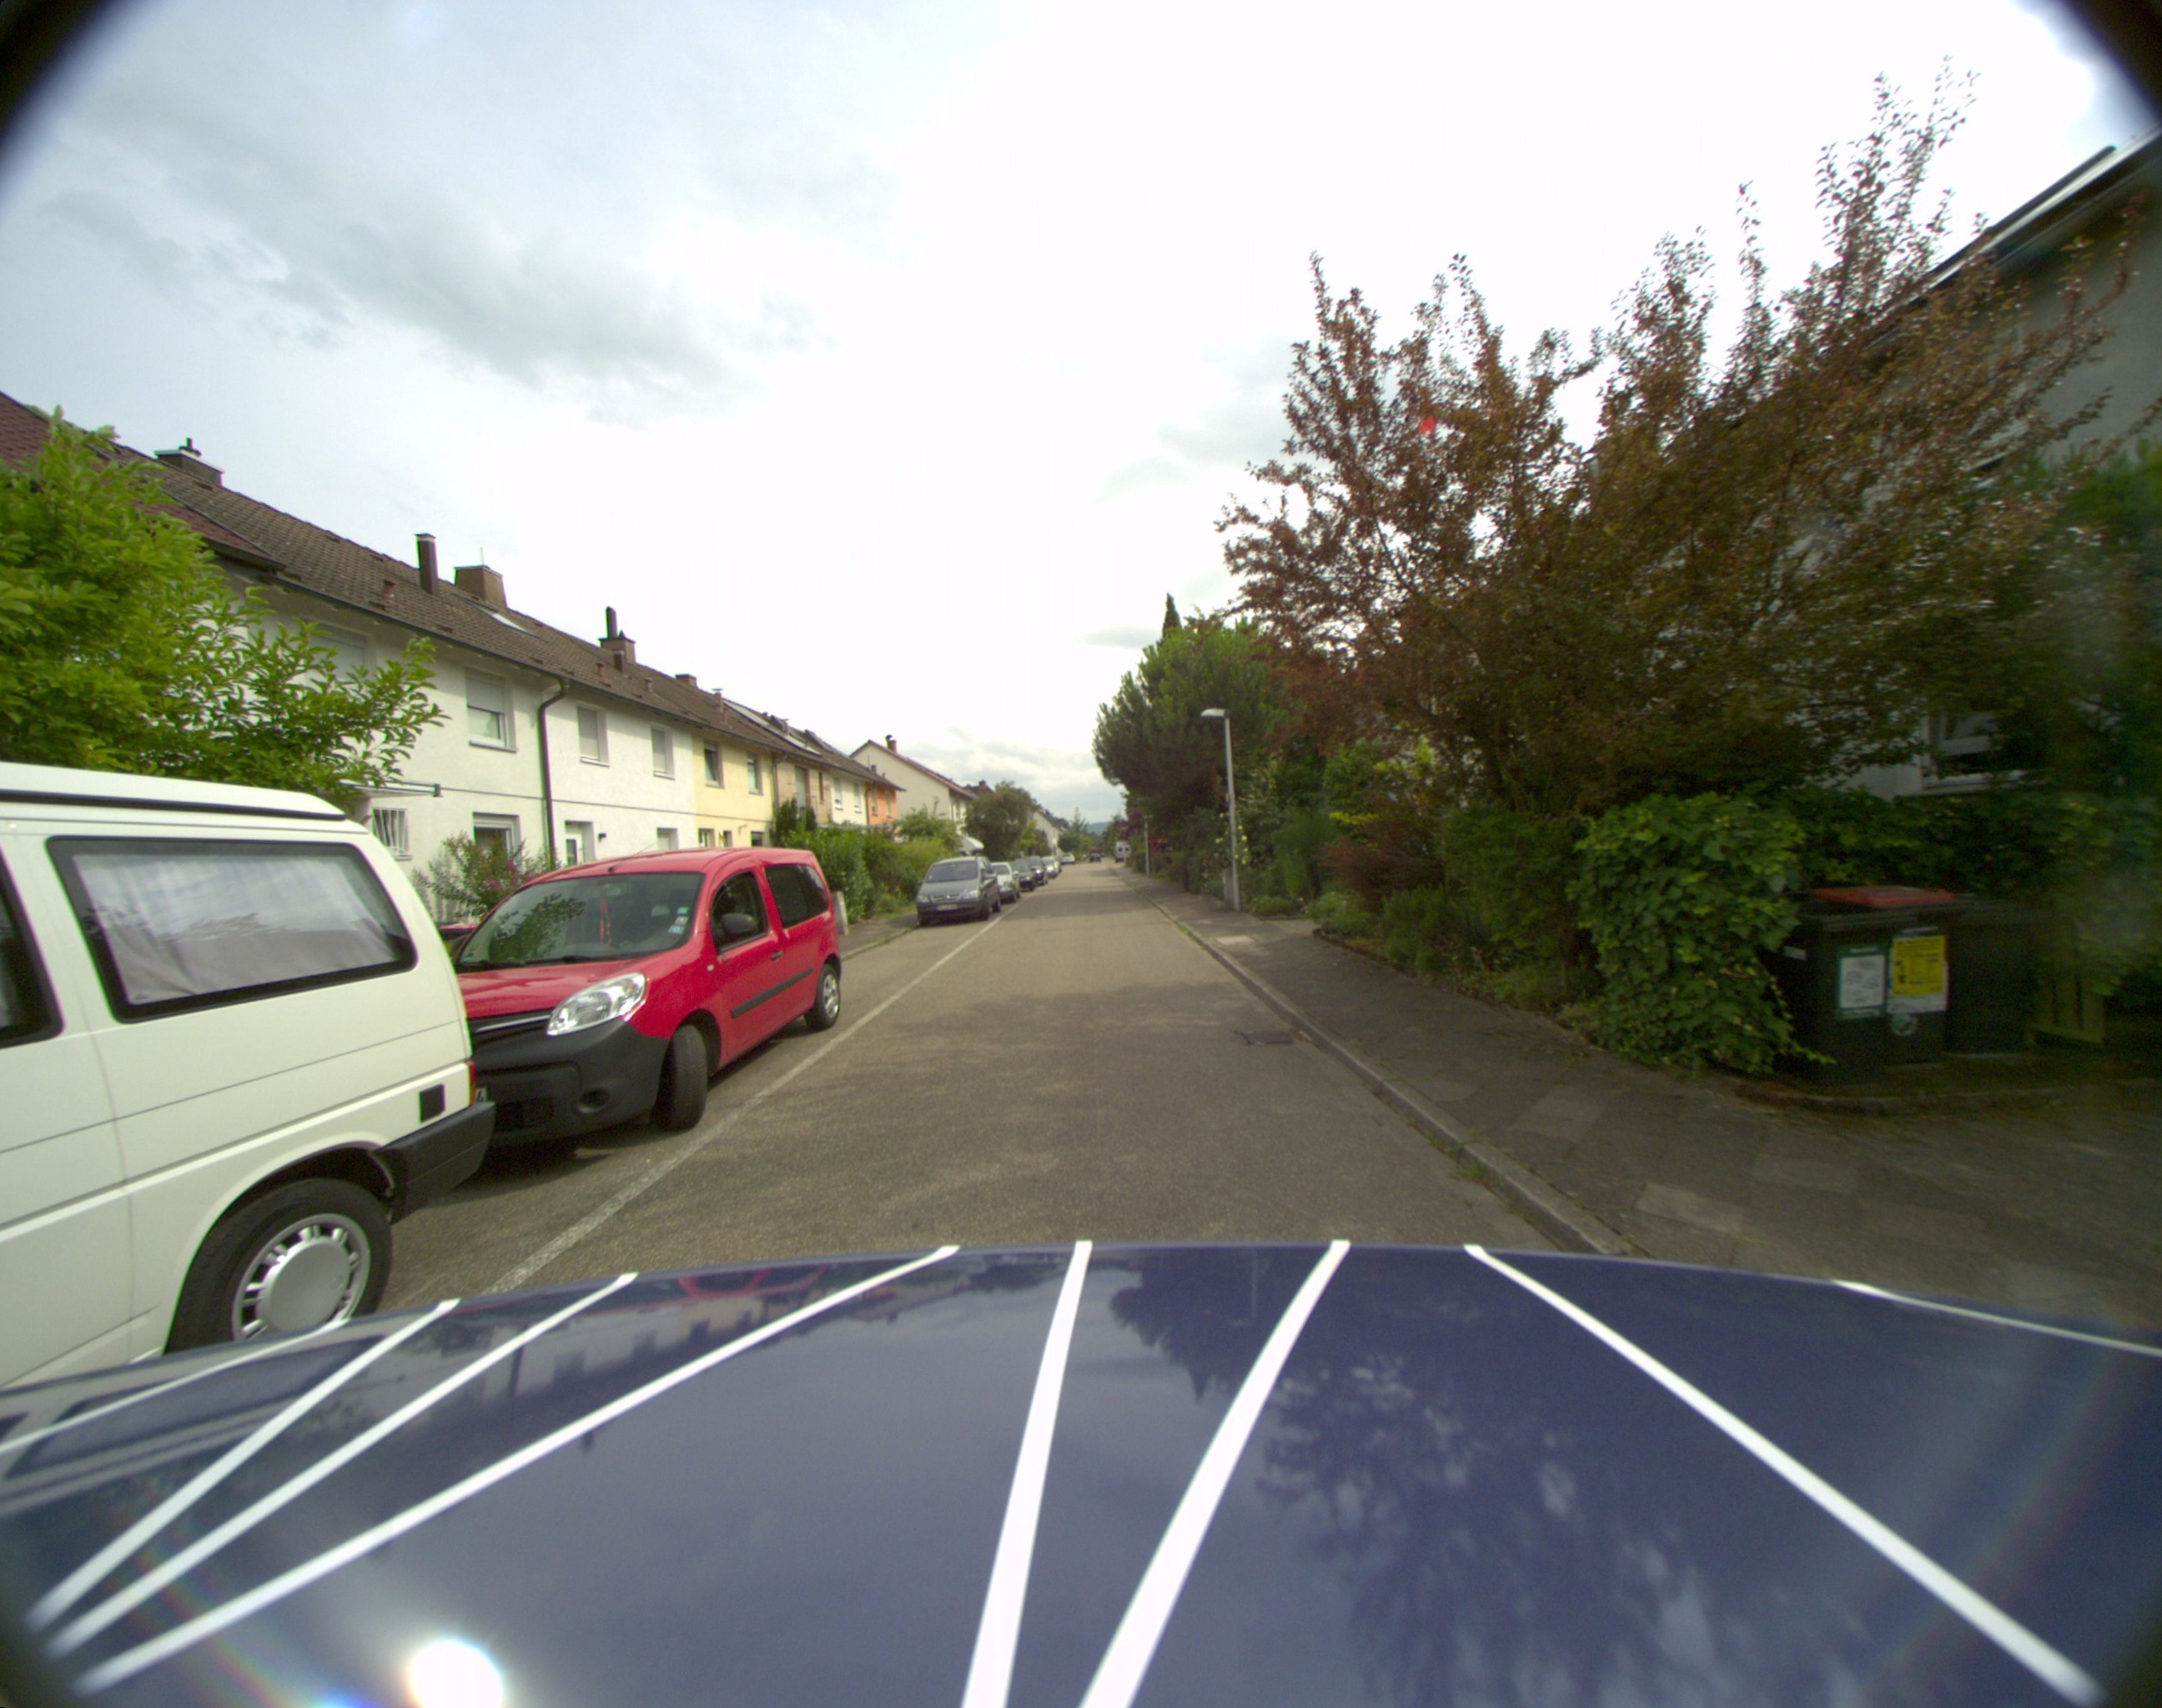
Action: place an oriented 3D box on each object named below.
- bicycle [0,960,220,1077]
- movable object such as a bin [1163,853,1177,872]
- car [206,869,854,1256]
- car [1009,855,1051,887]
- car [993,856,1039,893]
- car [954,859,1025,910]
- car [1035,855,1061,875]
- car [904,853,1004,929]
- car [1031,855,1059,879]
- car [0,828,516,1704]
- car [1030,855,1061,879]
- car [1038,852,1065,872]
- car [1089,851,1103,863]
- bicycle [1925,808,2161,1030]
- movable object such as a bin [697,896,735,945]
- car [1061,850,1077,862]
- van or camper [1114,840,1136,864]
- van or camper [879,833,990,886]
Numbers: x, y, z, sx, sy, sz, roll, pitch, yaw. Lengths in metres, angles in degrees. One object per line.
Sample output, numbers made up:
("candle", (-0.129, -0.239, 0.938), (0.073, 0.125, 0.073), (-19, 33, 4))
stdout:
("bicycle", (-9.813, 1.605, 7.470), (1.594, 0.860, 0.744), (-3, 1, -30))
("movable object such as a bin", (5.249, 0.491, 45.045), (0.705, 1.065, 0.822), (-2, 1, 1))
("car", (-3.269, 1.031, 5.834), (1.815, 1.641, 4.409), (-3, 0, -3))
("car", (-2.610, 0.829, 39.961), (1.753, 1.458, 4.647), (-4, 0, 1))
("car", (-2.864, 0.889, 34.308), (1.737, 1.419, 4.125), (-4, 0, -1))
("car", (-3.068, 0.983, 26.444), (1.872, 1.399, 4.766), (-5, 0, -1))
("car", (-2.452, 0.813, 57.878), (1.697, 1.357, 4.697), (-4, 0, 0))
("car", (-3.191, 0.863, 20.003), (1.872, 1.644, 4.463), (-4, 0, -1))
("car", (-2.448, 0.857, 52.284), (1.707, 1.434, 4.219), (-5, 0, -1))
("car", (-3.429, 0.962, 0.834), (2.026, 1.936, 4.746), (-3, 0, -1))
("car", (-2.398, 0.865, 52.339), (1.746, 1.462, 4.217), (-3, 0, 2))
("car", (-2.442, 0.650, 64.566), (1.872, 1.431, 4.850), (-4, 0, 2))
("car", (2.475, 0.481, 122.709), (1.998, 1.696, 4.001), (-4, 0, 4))
("bicycle", (6.985, 0.397, 5.174), (0.432, 1.387, 1.848), (-3, 1, 2))
("movable object such as a bin", (-8.091, 1.461, 16.863), (0.426, 0.982, 0.887), (-3, 1, -6))
("car", (-1.694, 0.285, 105.088), (1.999, 1.590, 3.999), (-4, 0, -2))
("van or camper", (5.475, -0.241, 95.230), (2.346, 2.719, 5.747), (-4, 0, 2))
("van or camper", (-8.569, 0.320, 44.914), (5.811, 2.801, 2.537), (-3, 1, 4))
